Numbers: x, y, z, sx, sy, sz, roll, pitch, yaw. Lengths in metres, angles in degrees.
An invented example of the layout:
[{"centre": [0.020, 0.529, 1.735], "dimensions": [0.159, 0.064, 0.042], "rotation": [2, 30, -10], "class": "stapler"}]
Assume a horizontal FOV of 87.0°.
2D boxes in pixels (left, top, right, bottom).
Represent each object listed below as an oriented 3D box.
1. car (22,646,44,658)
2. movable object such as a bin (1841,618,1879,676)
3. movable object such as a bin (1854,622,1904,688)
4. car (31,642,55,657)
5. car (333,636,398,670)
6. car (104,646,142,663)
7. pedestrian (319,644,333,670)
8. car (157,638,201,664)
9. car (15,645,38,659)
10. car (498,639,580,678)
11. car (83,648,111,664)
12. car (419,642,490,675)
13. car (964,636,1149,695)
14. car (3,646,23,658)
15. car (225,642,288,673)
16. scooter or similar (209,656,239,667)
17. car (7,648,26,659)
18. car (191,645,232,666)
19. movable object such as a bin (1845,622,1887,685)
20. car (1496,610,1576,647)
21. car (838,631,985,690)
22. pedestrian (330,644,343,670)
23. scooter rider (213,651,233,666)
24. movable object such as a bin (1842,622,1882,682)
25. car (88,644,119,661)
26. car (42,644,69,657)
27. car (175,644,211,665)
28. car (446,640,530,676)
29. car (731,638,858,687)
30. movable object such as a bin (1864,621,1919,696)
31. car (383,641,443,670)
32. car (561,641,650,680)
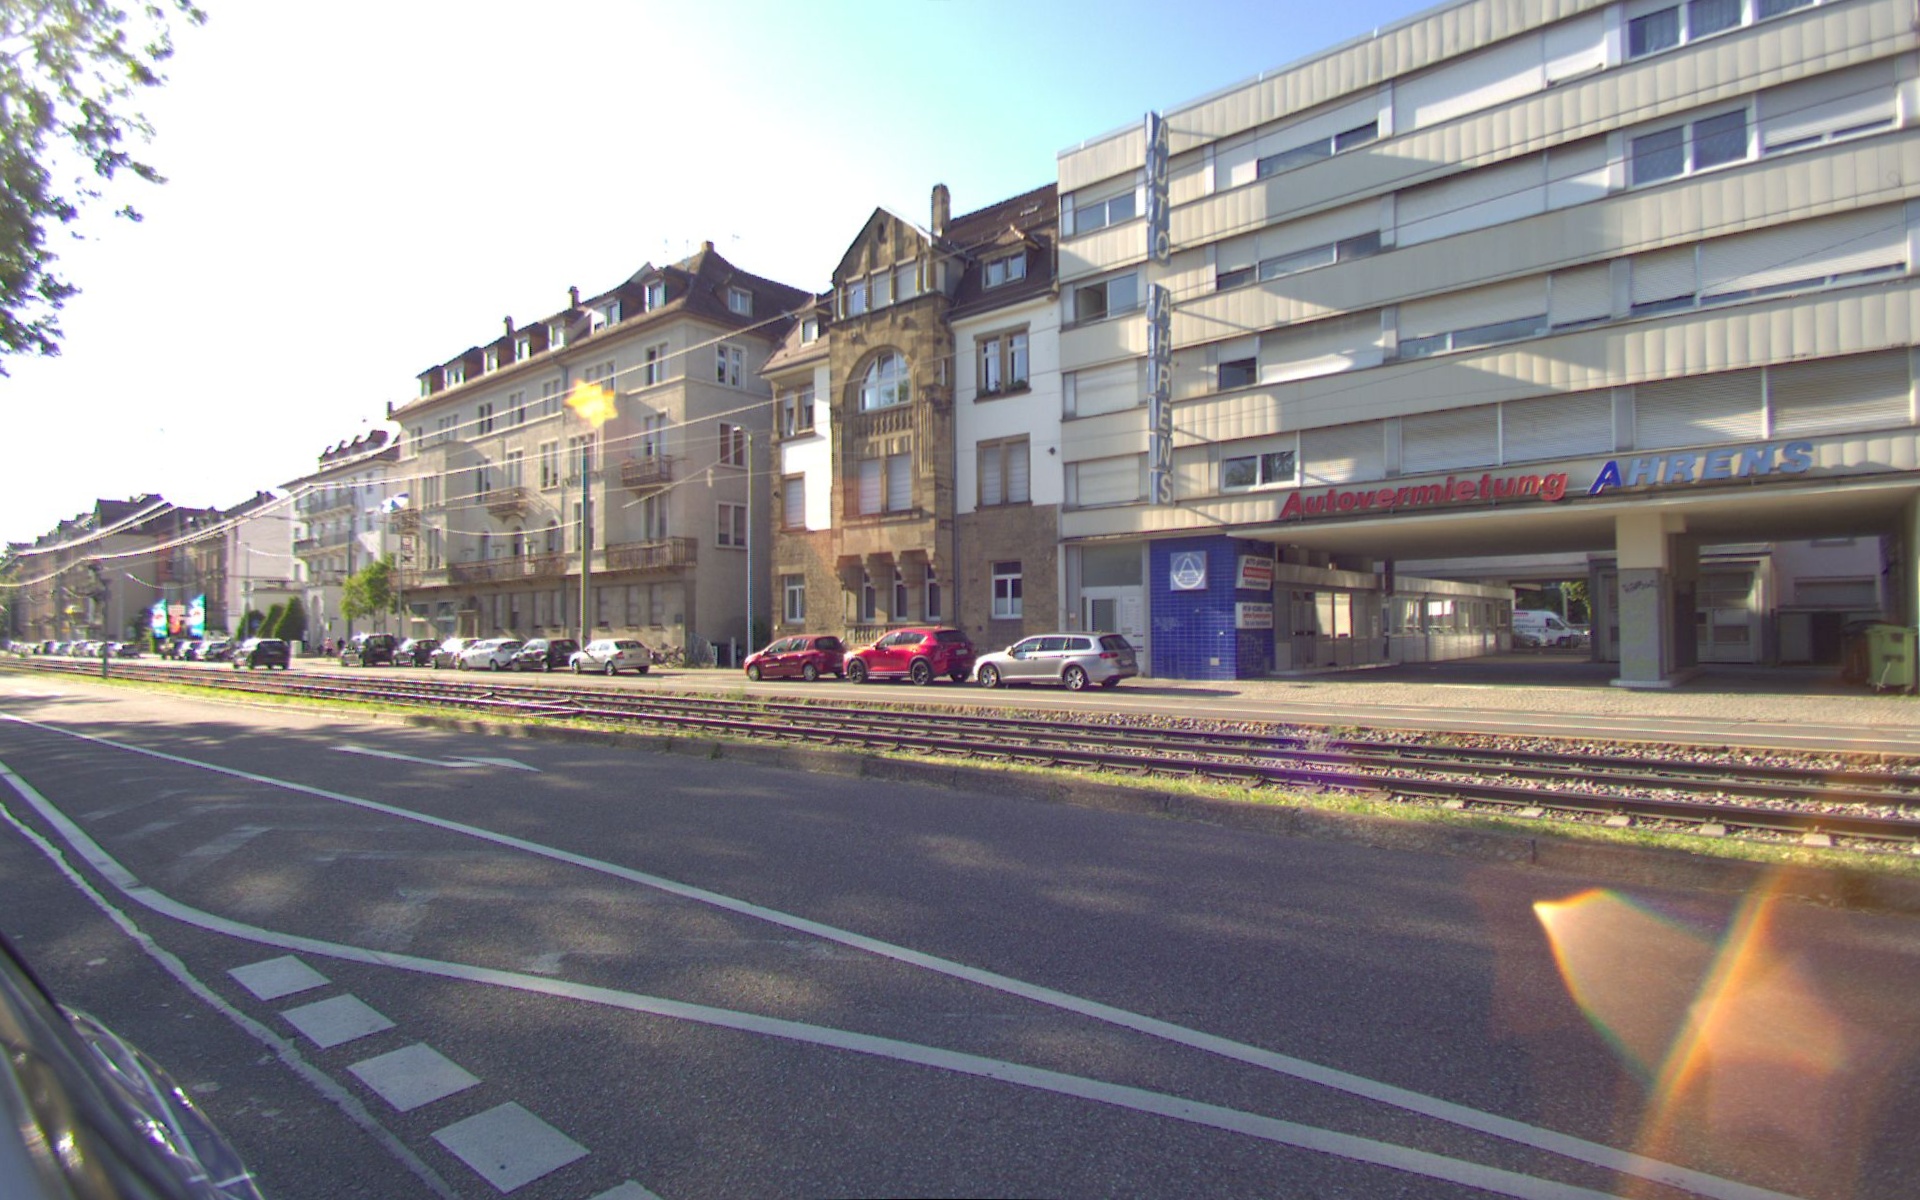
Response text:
[{"centre": [-121.114, 6.726, 132.185], "dimensions": [3.978, 1.457, 1.642], "rotation": [-2, -1, 41], "class": "car"}, {"centre": [22.366, 1.158, 25.163], "dimensions": [0.635, 1.382, 1.254], "rotation": [-2, -3, 40], "class": "movable object such as a bin"}, {"centre": [19.879, 1.173, 21.899], "dimensions": [0.634, 1.382, 1.255], "rotation": [-2, -2, 37], "class": "movable object such as a bin"}, {"centre": [-116.716, 6.326, 128.810], "dimensions": [4.723, 1.821, 1.643], "rotation": [-2, -1, 39], "class": "car"}, {"centre": [-34.182, 3.070, 58.148], "dimensions": [4.397, 1.800, 1.844], "rotation": [-3, -1, 40], "class": "car"}, {"centre": [-81.992, 5.317, 99.101], "dimensions": [4.836, 1.471, 1.902], "rotation": [-3, 2, 39], "class": "car"}, {"centre": [-43.358, 3.917, 69.243], "dimensions": [0.858, 1.709, 0.582], "rotation": [-2, 0, 44], "class": "pedestrian"}, {"centre": [-66.967, 4.334, 86.708], "dimensions": [5.591, 2.025, 2.055], "rotation": [-2, -1, 43], "class": "car"}, {"centre": [-127.766, 7.119, 138.485], "dimensions": [3.996, 1.821, 1.777], "rotation": [-2, -1, 39], "class": "car"}, {"centre": [-18.682, 2.553, 44.862], "dimensions": [4.157, 1.479, 1.618], "rotation": [-2, 3, 42], "class": "car"}, {"centre": [-93.260, 6.018, 109.326], "dimensions": [4.843, 1.573, 1.899], "rotation": [-4, -3, 44], "class": "car"}, {"centre": [-25.361, 2.892, 50.693], "dimensions": [4.155, 1.480, 1.619], "rotation": [-2, 1, 40], "class": "car"}, {"centre": [2.470, 1.686, 26.803], "dimensions": [4.678, 1.402, 1.815], "rotation": [-2, -2, 40], "class": "car"}, {"centre": [-139.647, 7.696, 149.229], "dimensions": [4.630, 1.655, 1.775], "rotation": [-2, -1, 43], "class": "car"}, {"centre": [-37.202, 3.033, 53.479], "dimensions": [4.154, 1.614, 1.619], "rotation": [-2, -4, 39], "class": "car"}, {"centre": [-53.652, 4.465, 73.773], "dimensions": [1.542, 0.776, 0.810], "rotation": [0, -3, -18], "class": "scooter or similar"}, {"centre": [-136.209, 7.677, 146.089], "dimensions": [3.763, 1.457, 1.642], "rotation": [-2, -1, 41], "class": "car"}, {"centre": [-58.370, 4.299, 78.896], "dimensions": [3.999, 1.522, 1.775], "rotation": [-2, 0, 42], "class": "car"}, {"centre": [20.607, 1.195, 23.027], "dimensions": [0.635, 1.382, 1.254], "rotation": [-2, -3, 40], "class": "movable object such as a bin"}, {"centre": [38.110, 1.863, 66.974], "dimensions": [4.338, 2.309, 1.840], "rotation": [-1, 0, 39], "class": "car"}, {"centre": [-1.496, 1.741, 30.109], "dimensions": [4.351, 1.570, 1.814], "rotation": [-2, -1, 42], "class": "car"}, {"centre": [-43.000, 3.907, 69.791], "dimensions": [0.858, 1.709, 0.582], "rotation": [-2, 0, 44], "class": "pedestrian"}, {"centre": [-53.691, 4.269, 73.766], "dimensions": [0.962, 1.097, 0.810], "rotation": [0, -3, -18], "class": "scooter rider"}, {"centre": [21.511, 1.227, 24.145], "dimensions": [0.635, 1.382, 1.254], "rotation": [-2, -3, 40], "class": "movable object such as a bin"}, {"centre": [-89.041, 5.441, 105.203], "dimensions": [4.842, 1.707, 1.900], "rotation": [-3, -1, 43], "class": "car"}, {"centre": [-111.461, 6.174, 124.736], "dimensions": [4.624, 1.550, 1.901], "rotation": [-2, -2, 41], "class": "car"}, {"centre": [-62.421, 4.404, 82.361], "dimensions": [4.158, 1.518, 1.617], "rotation": [-1, 0, 43], "class": "car"}, {"centre": [-22.096, 2.711, 47.311], "dimensions": [3.971, 1.479, 1.623], "rotation": [-3, 3, 33], "class": "car"}, {"centre": [-5.514, 2.035, 33.608], "dimensions": [4.027, 1.401, 1.817], "rotation": [-2, 1, 36], "class": "car"}, {"centre": [18.125, 1.113, 19.643], "dimensions": [0.633, 1.382, 1.399], "rotation": [-2, -2, 34], "class": "movable object such as a bin"}, {"centre": [-29.588, 3.015, 54.727], "dimensions": [3.505, 1.401, 1.611], "rotation": [-3, 0, 39], "class": "car"}, {"centre": [-14.520, 2.456, 41.375], "dimensions": [4.156, 1.480, 1.618], "rotation": [-3, -3, 41], "class": "car"}]
